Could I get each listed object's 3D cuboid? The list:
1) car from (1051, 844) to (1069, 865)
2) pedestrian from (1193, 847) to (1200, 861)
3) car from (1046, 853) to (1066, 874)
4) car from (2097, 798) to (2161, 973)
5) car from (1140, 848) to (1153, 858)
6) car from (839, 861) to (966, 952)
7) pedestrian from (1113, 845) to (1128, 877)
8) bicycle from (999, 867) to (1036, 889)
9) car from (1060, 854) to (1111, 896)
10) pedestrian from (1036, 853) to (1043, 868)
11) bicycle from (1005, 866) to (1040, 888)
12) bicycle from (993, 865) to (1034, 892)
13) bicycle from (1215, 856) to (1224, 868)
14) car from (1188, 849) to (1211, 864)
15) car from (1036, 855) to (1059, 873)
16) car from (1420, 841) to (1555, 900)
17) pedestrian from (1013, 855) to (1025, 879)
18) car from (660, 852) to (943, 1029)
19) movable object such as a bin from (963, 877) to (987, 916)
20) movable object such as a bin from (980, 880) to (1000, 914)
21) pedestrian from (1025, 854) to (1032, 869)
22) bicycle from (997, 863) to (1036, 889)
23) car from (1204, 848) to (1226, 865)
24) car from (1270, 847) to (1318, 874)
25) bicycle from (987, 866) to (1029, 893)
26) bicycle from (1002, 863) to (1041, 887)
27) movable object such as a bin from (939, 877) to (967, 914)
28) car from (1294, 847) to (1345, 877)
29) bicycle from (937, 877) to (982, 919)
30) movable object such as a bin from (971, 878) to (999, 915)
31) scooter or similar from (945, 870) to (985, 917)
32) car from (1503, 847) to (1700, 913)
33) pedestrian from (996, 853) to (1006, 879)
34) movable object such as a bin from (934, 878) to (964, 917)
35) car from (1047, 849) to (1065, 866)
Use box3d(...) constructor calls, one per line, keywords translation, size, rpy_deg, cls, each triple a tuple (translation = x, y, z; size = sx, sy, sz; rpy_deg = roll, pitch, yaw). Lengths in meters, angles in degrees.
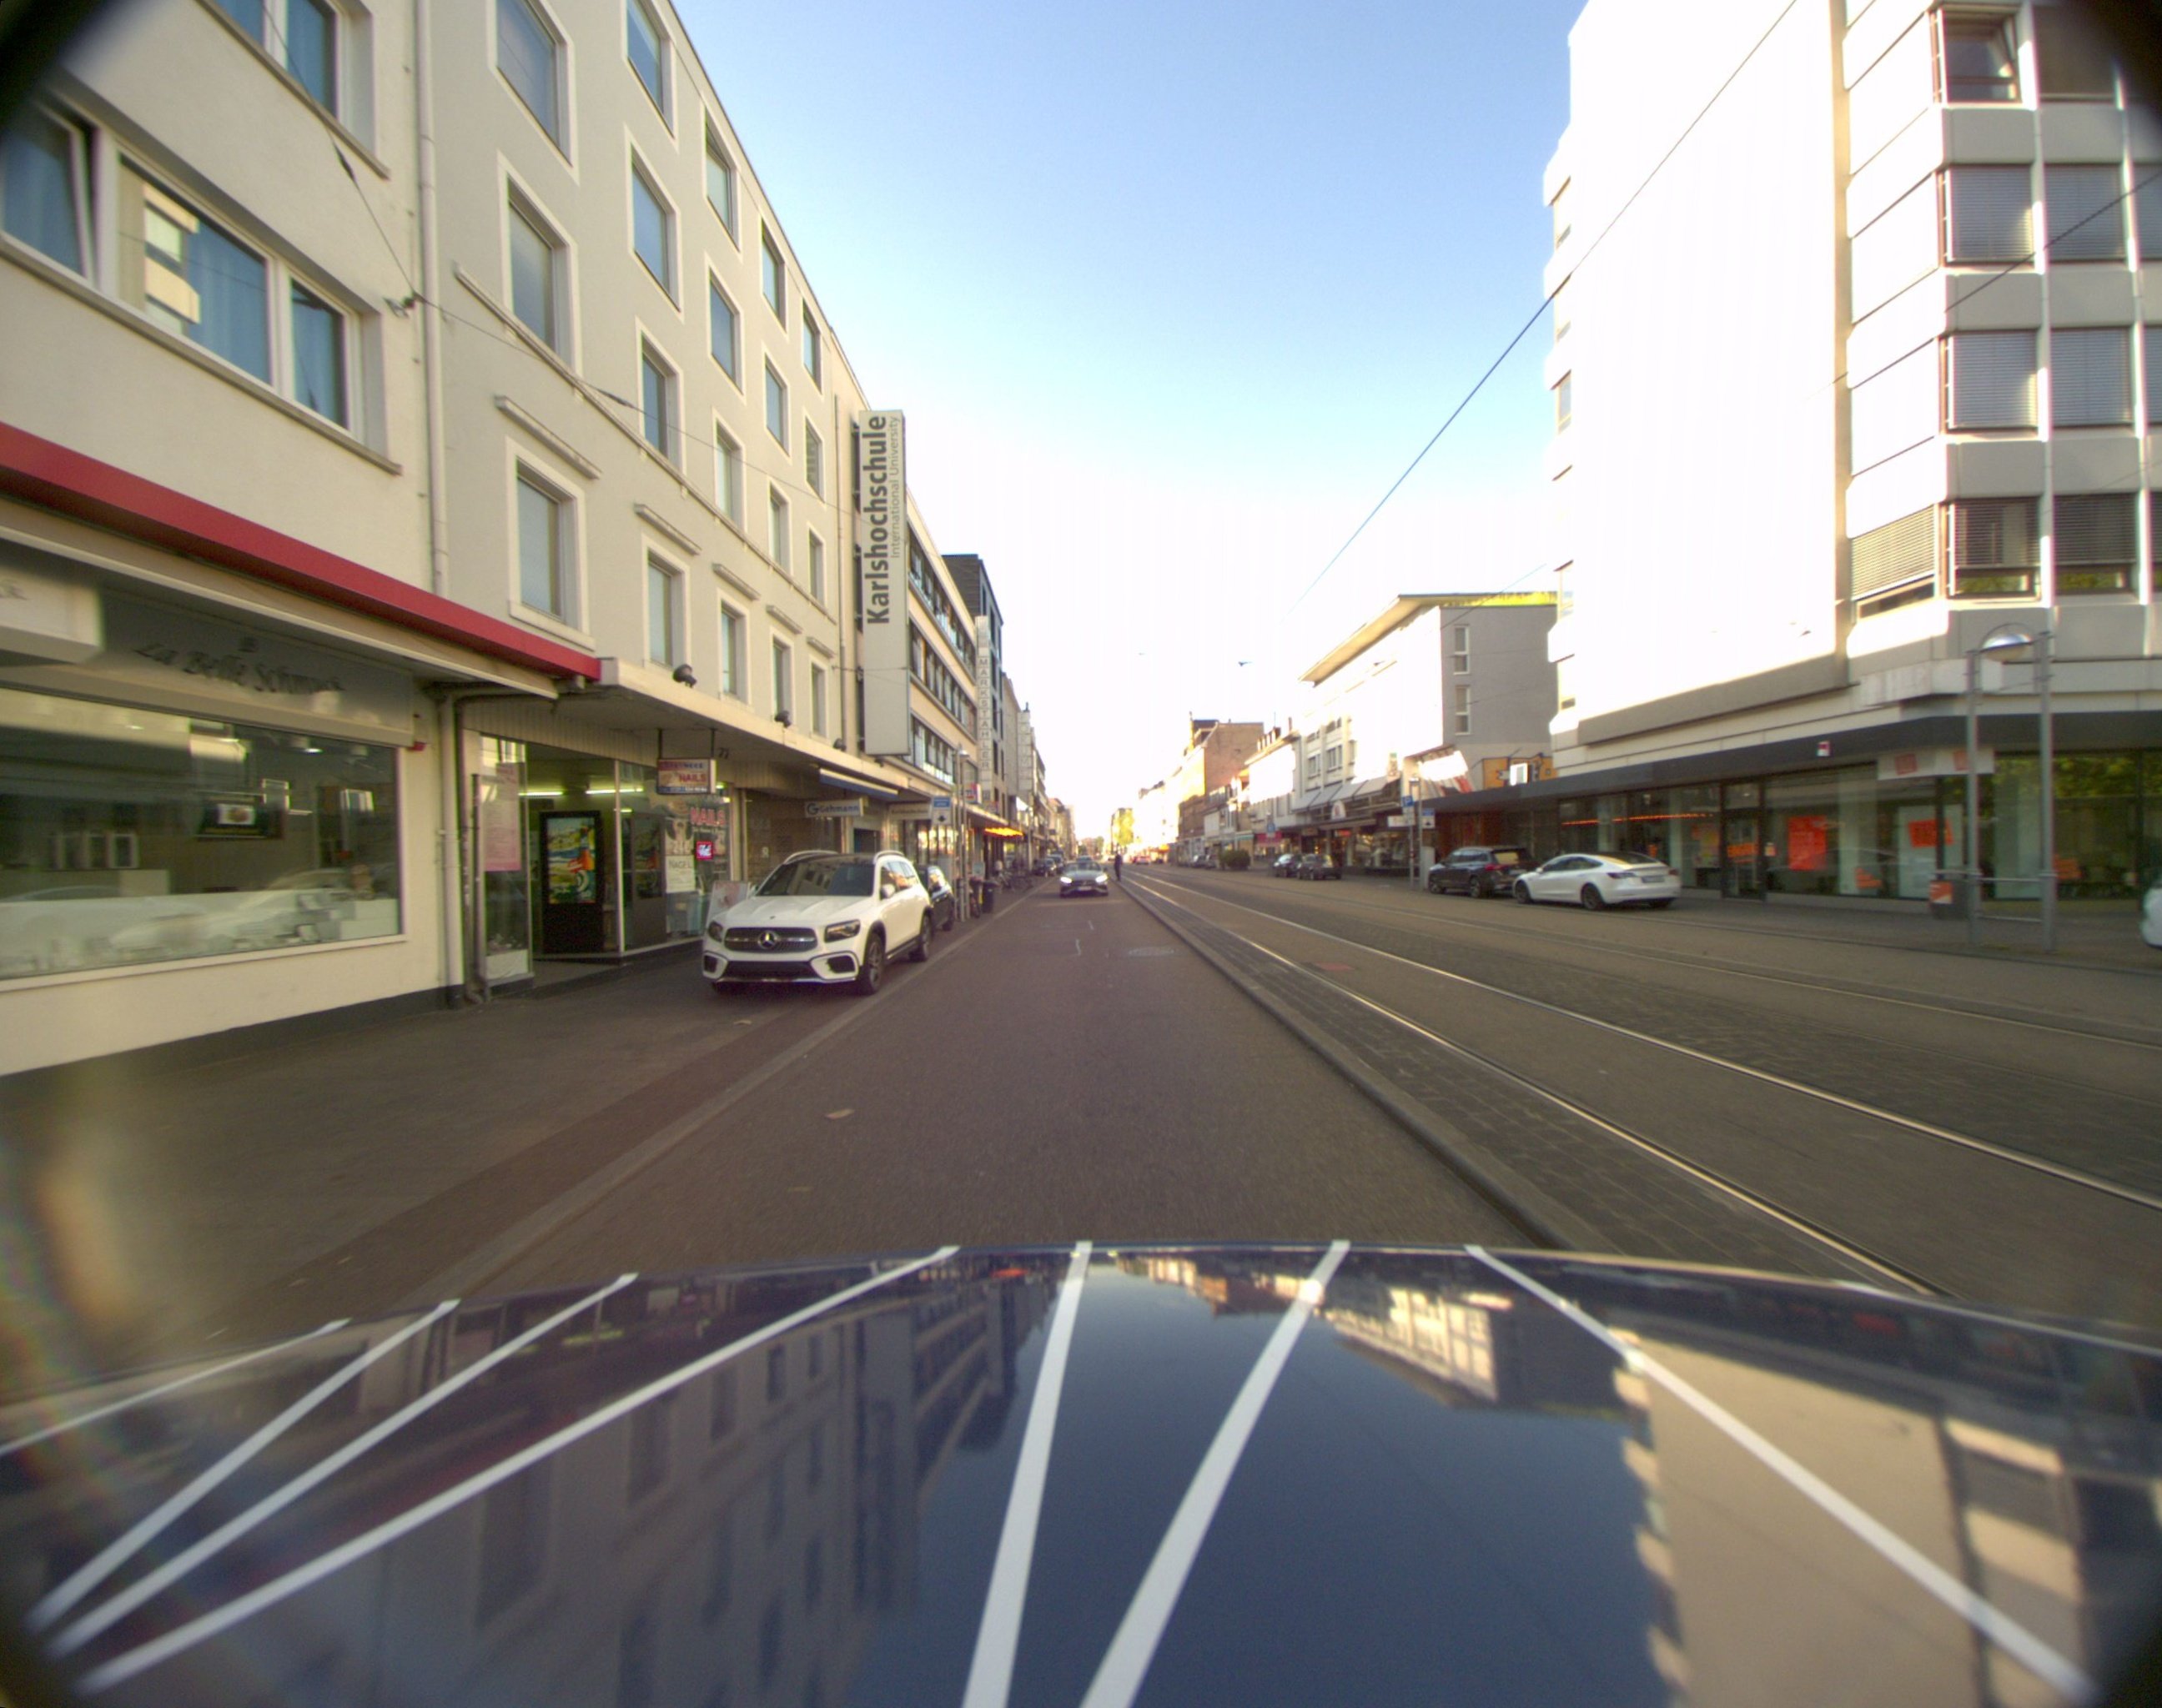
box3d(translation=(-2.656, 0.082, 98.386), size=(2.051, 2.486, 5.687), rpy_deg=(-3, -1, 0), cls="car")
box3d(translation=(14.623, 0.046, 96.369), size=(0.658, 1.752, 0.581), rpy_deg=(-4, 1, -8), cls="pedestrian")
box3d(translation=(-2.350, 0.855, 70.663), size=(1.821, 1.849, 4.548), rpy_deg=(0, 1, -3), cls="car")
box3d(translation=(13.185, 0.331, 6.547), size=(1.998, 1.964, 5.096), rpy_deg=(-4, 1, 0), cls="car")
box3d(translation=(11.023, -0.123, 128.261), size=(1.802, 1.625, 3.675), rpy_deg=(-1, 1, 0), cls="car")
box3d(translation=(-3.501, 0.965, 15.626), size=(1.618, 1.519, 4.069), rpy_deg=(-1, 1, 0), cls="car")
box3d(translation=(2.239, 0.406, 43.540), size=(0.806, 1.827, 0.746), rpy_deg=(0, 1, -1), cls="pedestrian")
box3d(translation=(-3.124, 1.184, 37.546), size=(1.778, 1.026, 0.597), rpy_deg=(-1, 1, 0), cls="bicycle")
box3d(translation=(0.176, 0.798, 30.722), size=(1.858, 1.463, 4.785), rpy_deg=(-1, 1, 0), cls="car")
box3d(translation=(-4.154, 0.653, 76.308), size=(0.697, 1.499, 0.814), rpy_deg=(-1, 1, 0), cls="pedestrian")
box3d(translation=(-3.071, 1.187, 39.757), size=(1.778, 1.124, 0.478), rpy_deg=(-1, 1, -5), cls="bicycle")
box3d(translation=(-3.091, 1.109, 34.975), size=(1.792, 1.210, 0.669), rpy_deg=(-1, 1, 0), cls="bicycle")
box3d(translation=(12.916, 0.729, 70.875), size=(0.519, 1.084, 1.716), rpy_deg=(-3, 1, 1), cls="bicycle")
box3d(translation=(13.576, 0.252, 87.238), size=(1.822, 1.505, 4.762), rpy_deg=(-2, 1, 0), cls="car")
box3d(translation=(-2.844, 0.826, 64.730), size=(1.726, 1.476, 4.415), rpy_deg=(0, 1, 0), cls="car")
box3d(translation=(13.379, 0.463, 25.385), size=(1.983, 1.669, 4.654), rpy_deg=(-3, 1, 1), cls="car")
box3d(translation=(-3.983, 0.819, 48.582), size=(0.584, 1.485, 0.523), rpy_deg=(0, 1, -35), cls="pedestrian")
box3d(translation=(-3.238, 0.851, 10.128), size=(1.854, 1.714, 5.192), rpy_deg=(0, 1, 0), cls="car")
box3d(translation=(-2.902, 1.163, 20.832), size=(0.523, 1.008, 0.671), rpy_deg=(-1, 1, 3), cls="movable object such as a bin")
box3d(translation=(-2.653, 1.246, 22.092), size=(0.489, 0.952, 0.458), rpy_deg=(0, 1, 4), cls="movable object such as a bin")
box3d(translation=(-5.101, 0.719, 74.210), size=(0.577, 1.431, 0.731), rpy_deg=(0, 1, 0), cls="pedestrian")
box3d(translation=(-3.075, 1.051, 36.161), size=(1.792, 1.210, 0.587), rpy_deg=(-1, 1, 0), cls="bicycle")
box3d(translation=(13.751, 0.266, 77.918), size=(1.701, 1.594, 2.891), rpy_deg=(-3, 1, 0), cls="car")
box3d(translation=(13.713, 0.383, 49.117), size=(1.741, 1.514, 4.851), rpy_deg=(-4, 1, 1), cls="car")
box3d(translation=(-3.231, 1.115, 33.911), size=(1.792, 1.153, 0.669), rpy_deg=(-1, 1, 0), cls="bicycle")
box3d(translation=(-3.180, 1.109, 40.654), size=(2.043, 1.267, 0.524), rpy_deg=(-1, 1, -9), cls="bicycle")
box3d(translation=(-3.647, 1.168, 21.692), size=(0.659, 1.008, 0.636), rpy_deg=(-1, 1, 3), cls="movable object such as a bin")
box3d(translation=(13.451, 0.434, 43.057), size=(1.605, 1.514, 3.588), rpy_deg=(-4, 1, -2), cls="car")
box3d(translation=(-3.181, 1.143, 19.876), size=(1.134, 1.073, 0.320), rpy_deg=(0, 1, -1), cls="bicycle")
box3d(translation=(-2.730, 1.198, 21.582), size=(0.688, 1.008, 0.508), rpy_deg=(-1, 1, 3), cls="movable object such as a bin")
box3d(translation=(-3.083, 1.056, 20.221), size=(0.995, 1.224, 0.320), rpy_deg=(0, 1, -1), cls="scooter or similar")
box3d(translation=(13.378, 0.589, 19.980), size=(1.893, 1.413, 4.655), rpy_deg=(-4, 1, -1), cls="car")
box3d(translation=(-5.057, 0.754, 48.139), size=(0.583, 1.576, 0.597), rpy_deg=(1, 1, -1), cls="pedestrian")
box3d(translation=(-3.629, 1.197, 20.933), size=(0.659, 1.008, 0.636), rpy_deg=(-1, 1, 3), cls="movable object such as a bin")
box3d(translation=(-3.033, 0.403, 91.748), size=(2.051, 1.899, 4.877), rpy_deg=(-1, 1, -2), cls="car")
